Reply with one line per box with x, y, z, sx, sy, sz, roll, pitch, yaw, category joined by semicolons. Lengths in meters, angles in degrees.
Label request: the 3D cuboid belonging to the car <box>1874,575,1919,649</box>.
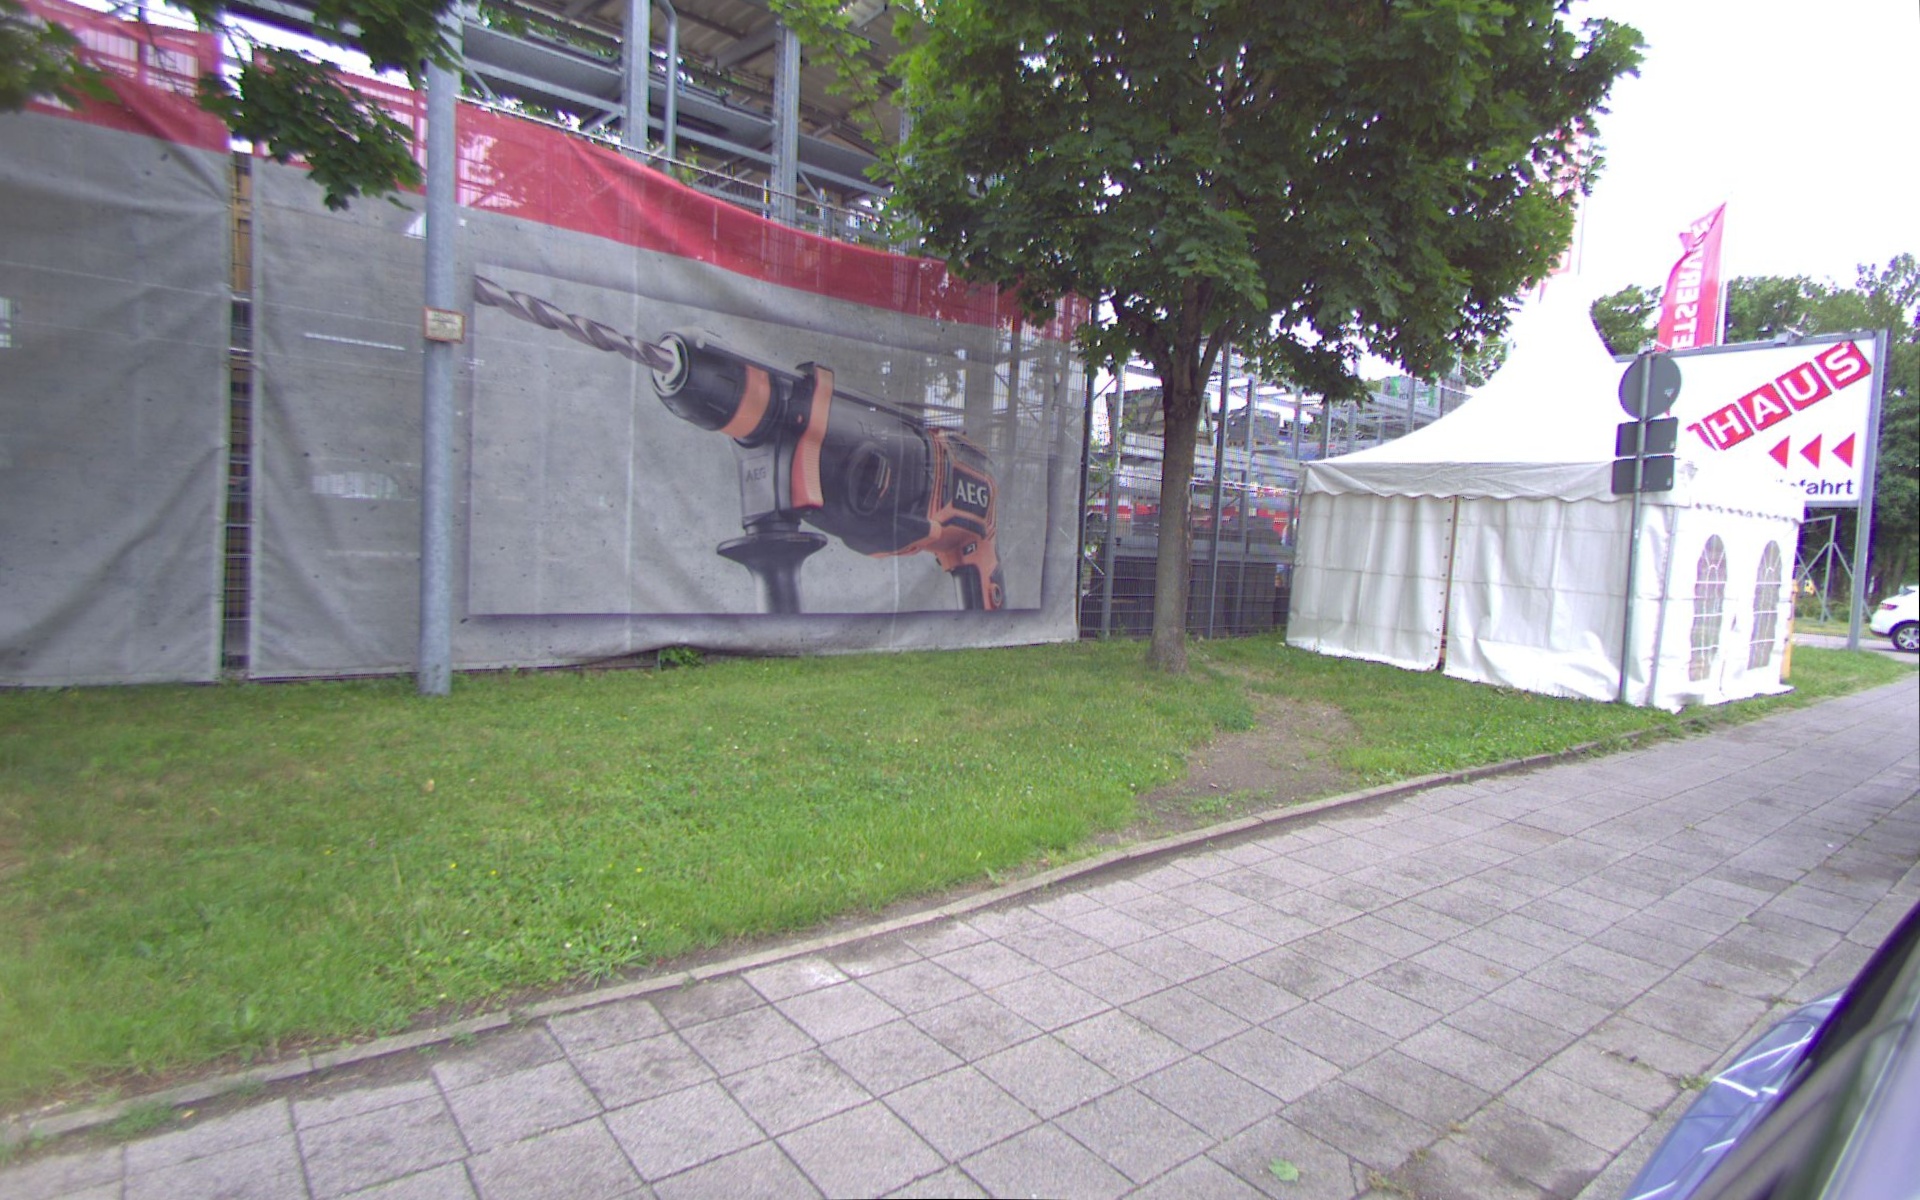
21.293;0.342;20.121;1.908;1.445;4.485;-2;5;-44;car

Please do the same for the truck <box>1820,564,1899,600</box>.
68.493;-1.386;77.109;3.925;2.425;2.001;3;3;1;truck
